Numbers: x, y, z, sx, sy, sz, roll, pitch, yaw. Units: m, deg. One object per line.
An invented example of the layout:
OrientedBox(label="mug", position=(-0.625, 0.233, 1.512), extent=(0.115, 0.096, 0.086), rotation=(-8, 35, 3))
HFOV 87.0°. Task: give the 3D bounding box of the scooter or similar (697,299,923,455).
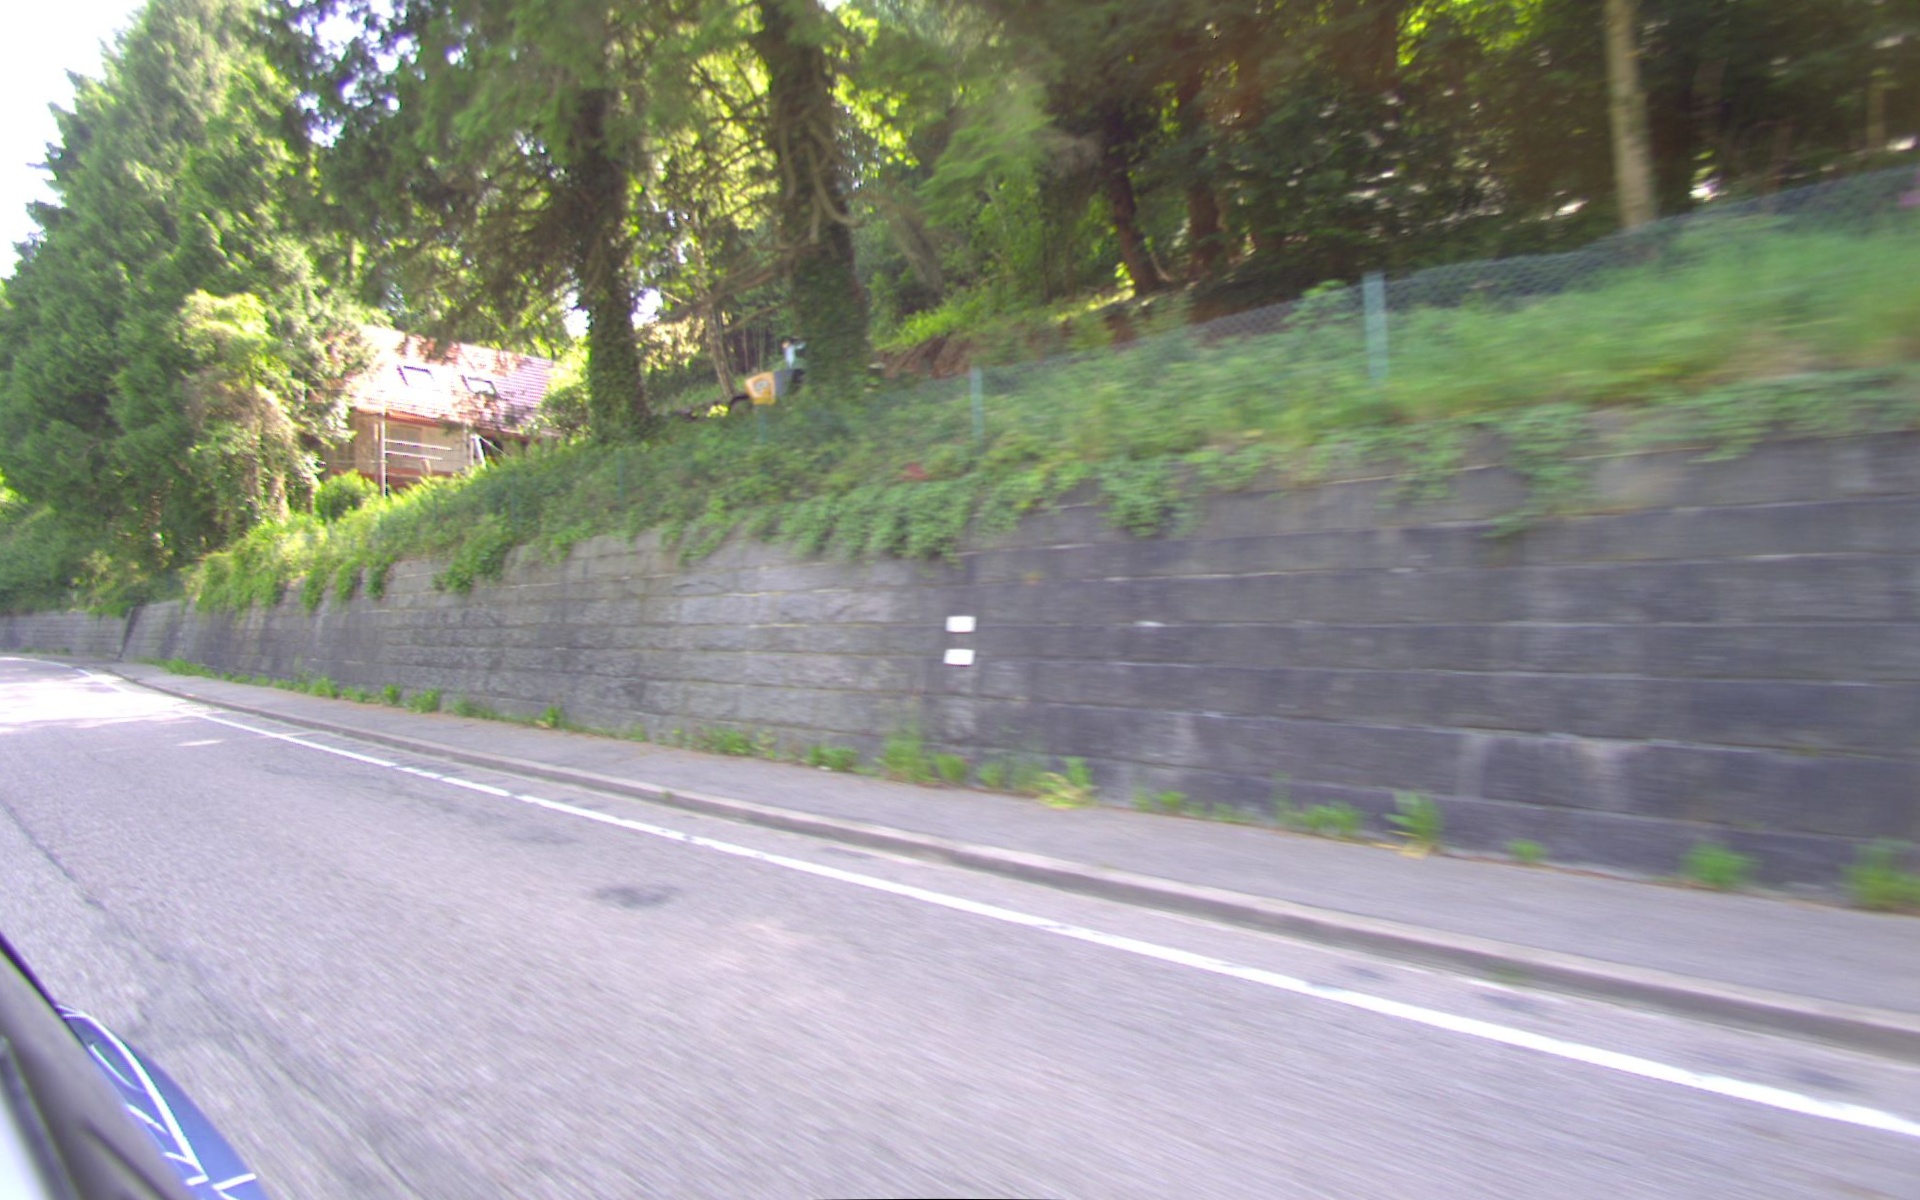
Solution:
OrientedBox(label="scooter or similar", position=(-2.961, -4.087, 19.351), extent=(1.955, 2.041, 4.408), rotation=(-5, 3, -44))
